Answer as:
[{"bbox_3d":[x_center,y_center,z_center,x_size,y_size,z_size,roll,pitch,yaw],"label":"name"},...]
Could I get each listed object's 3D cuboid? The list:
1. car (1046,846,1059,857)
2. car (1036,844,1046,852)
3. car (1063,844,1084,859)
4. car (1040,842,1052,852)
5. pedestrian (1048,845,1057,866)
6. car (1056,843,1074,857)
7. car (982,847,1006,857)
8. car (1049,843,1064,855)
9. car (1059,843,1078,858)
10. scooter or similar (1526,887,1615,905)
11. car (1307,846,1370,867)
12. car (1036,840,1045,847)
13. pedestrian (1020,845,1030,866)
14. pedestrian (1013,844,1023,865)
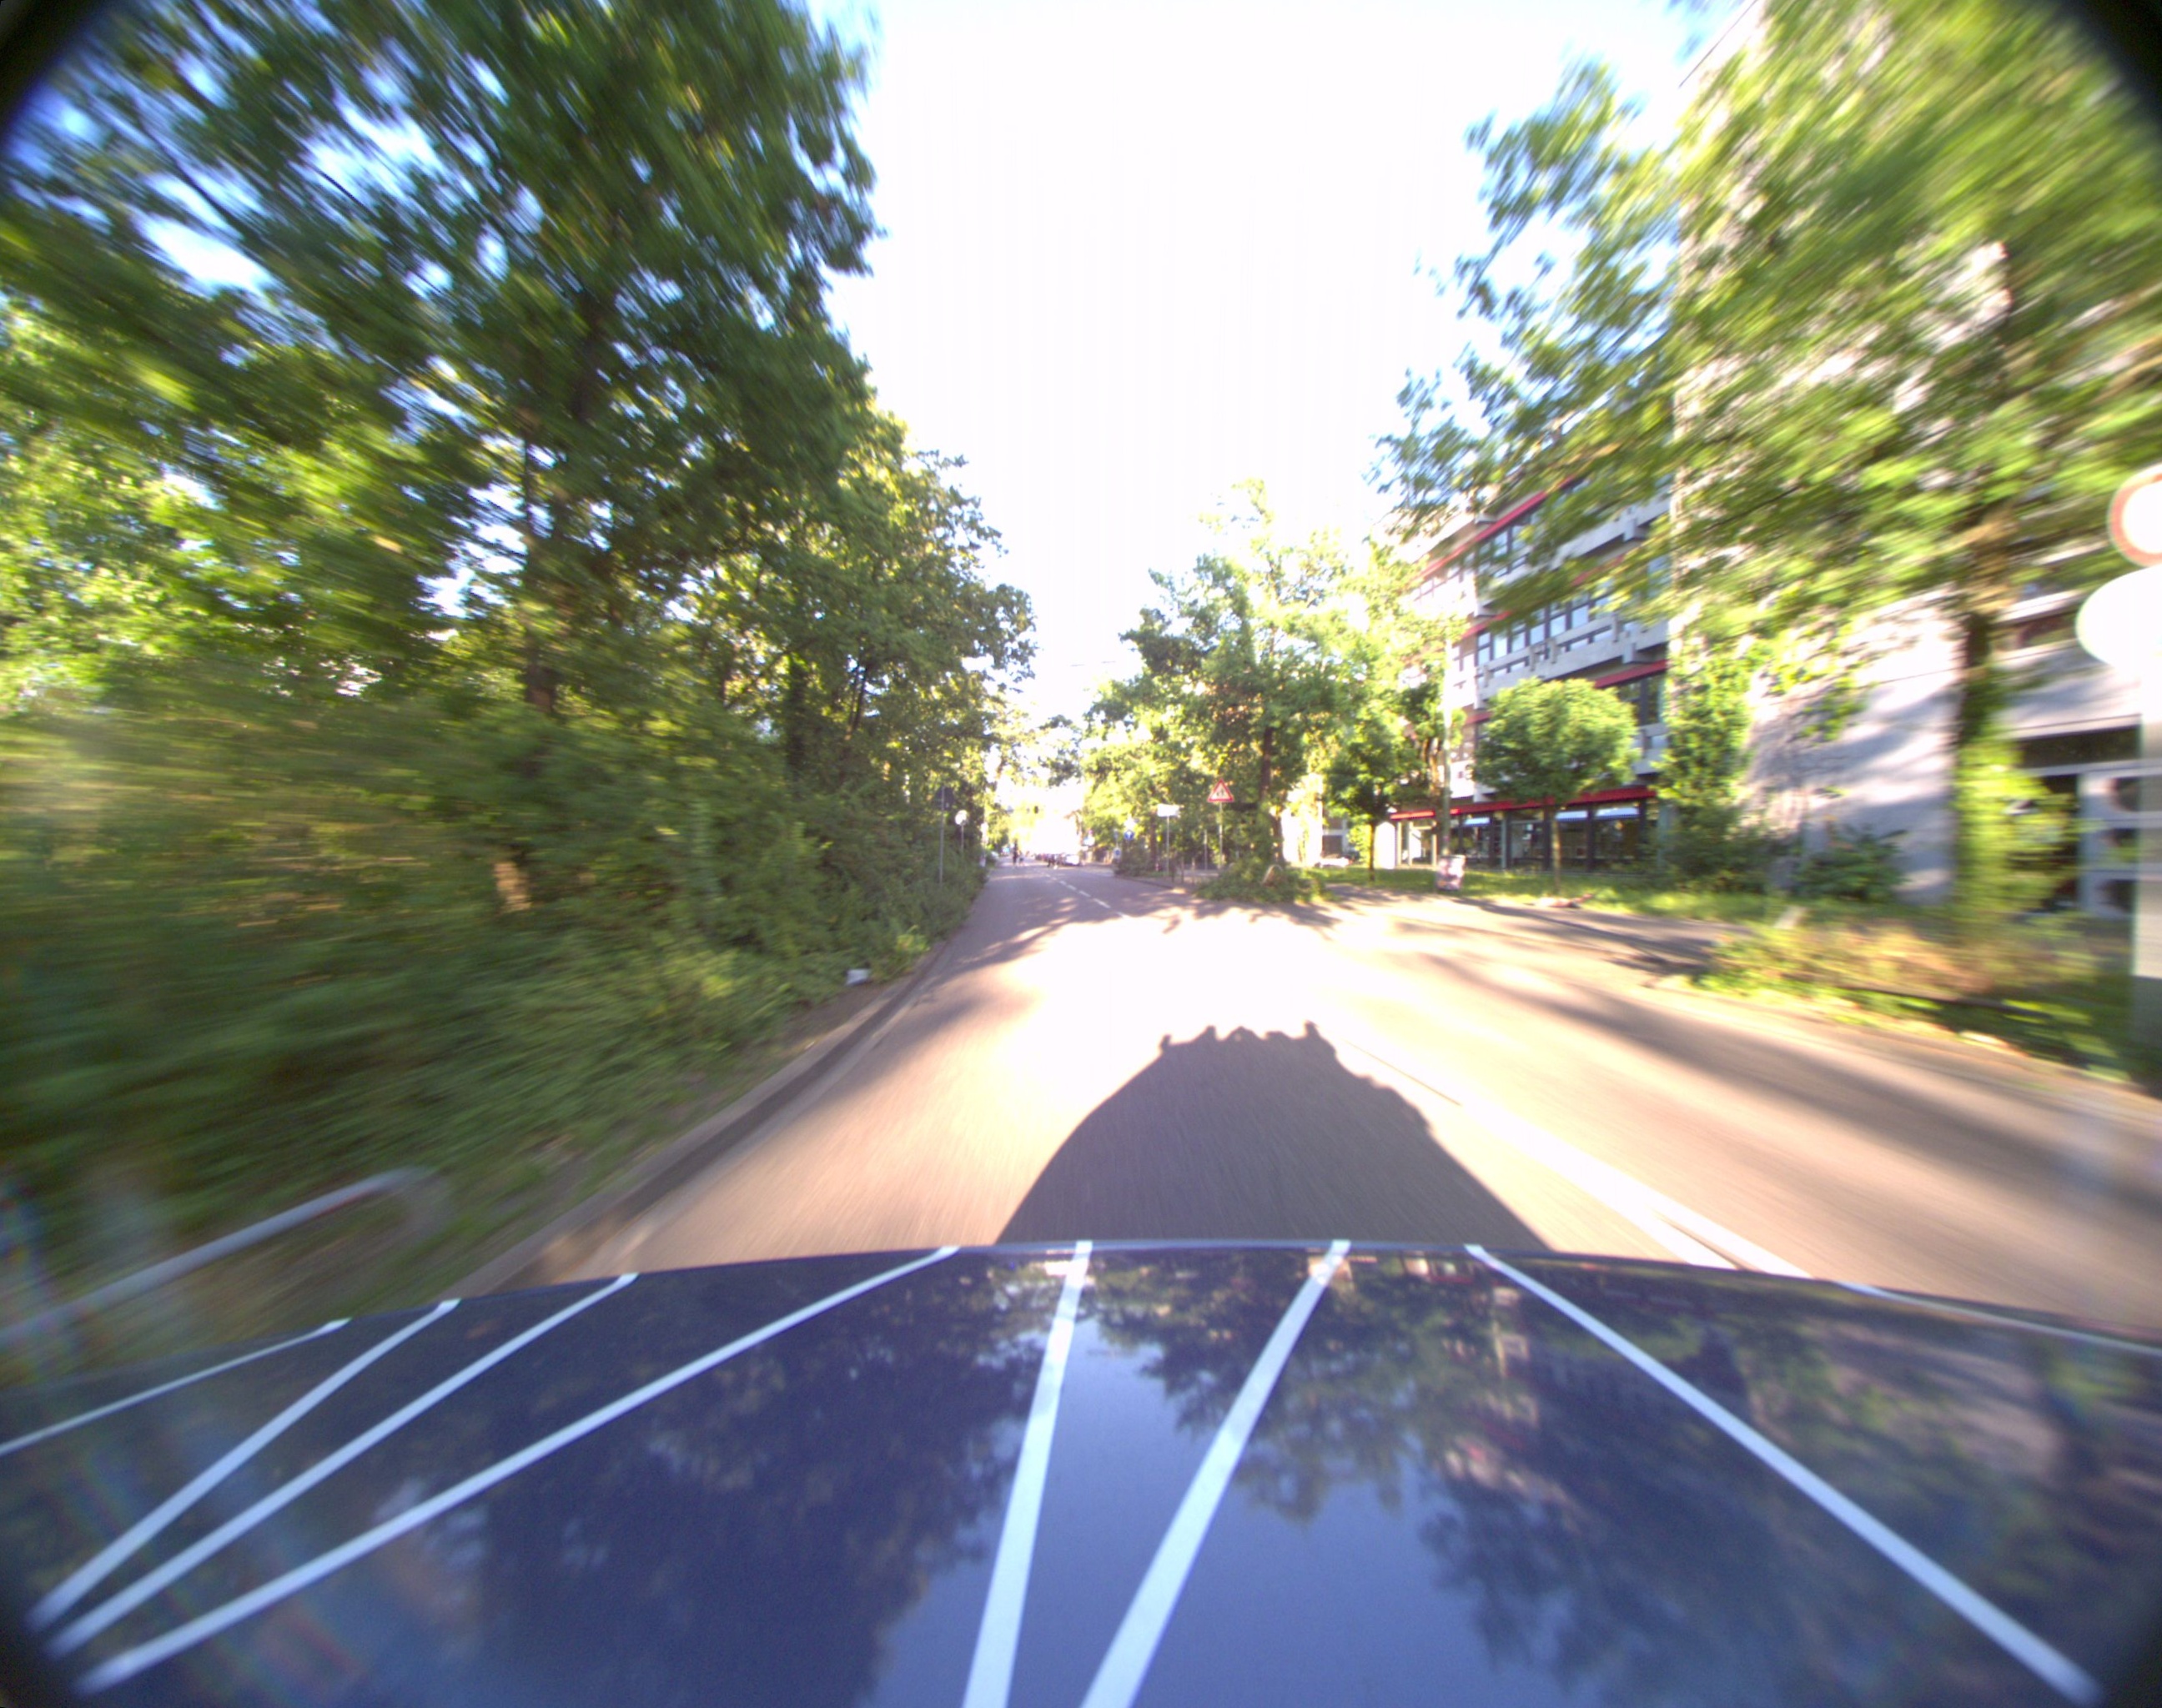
[{"bbox_3d":[-4.448,-0.406,117.484,1.777,1.559,4.106,-2,1,-6],"label":"car"},{"bbox_3d":[-7.788,-1.151,147.330,1.777,1.559,4.106,-2,1,-6],"label":"car"},{"bbox_3d":[-0.812,-0.244,78.436,1.777,1.474,4.106,-2,1,-6],"label":"car"},{"bbox_3d":[-6.111,-1.252,133.073,1.777,1.559,4.106,-2,1,-6],"label":"car"},{"bbox_3d":[-2.554,0.095,68.098,0.784,1.825,0.672,-2,1,-2],"label":"pedestrian"},{"bbox_3d":[-1.882,-0.529,90.093,1.777,1.559,4.106,-2,1,-6],"label":"car"},{"bbox_3d":[-14.697,-0.279,128.253,2.004,1.631,3.989,-3,2,-43],"label":"car"},{"bbox_3d":[-3.529,-0.722,108.176,1.777,1.559,4.106,-2,1,-6],"label":"car"},{"bbox_3d":[-1.415,-0.441,84.626,1.777,1.559,4.106,-2,1,-6],"label":"car"},{"bbox_3d":[11.001,0.937,17.120,1.166,0.274,1.248,-2,1,-21],"label":"scooter or similar"},{"bbox_3d":[18.457,0.160,54.565,3.965,1.441,1.774,0,3,-17],"label":"car"},{"bbox_3d":[-8.963,-2.419,169.772,1.777,1.559,4.106,-2,1,-6],"label":"car"},{"bbox_3d":[-5.130,0.129,69.512,0.784,1.825,0.672,-2,1,-2],"label":"pedestrian"},{"bbox_3d":[-5.642,0.075,68.014,0.784,1.825,0.672,-2,1,-2],"label":"pedestrian"}]
